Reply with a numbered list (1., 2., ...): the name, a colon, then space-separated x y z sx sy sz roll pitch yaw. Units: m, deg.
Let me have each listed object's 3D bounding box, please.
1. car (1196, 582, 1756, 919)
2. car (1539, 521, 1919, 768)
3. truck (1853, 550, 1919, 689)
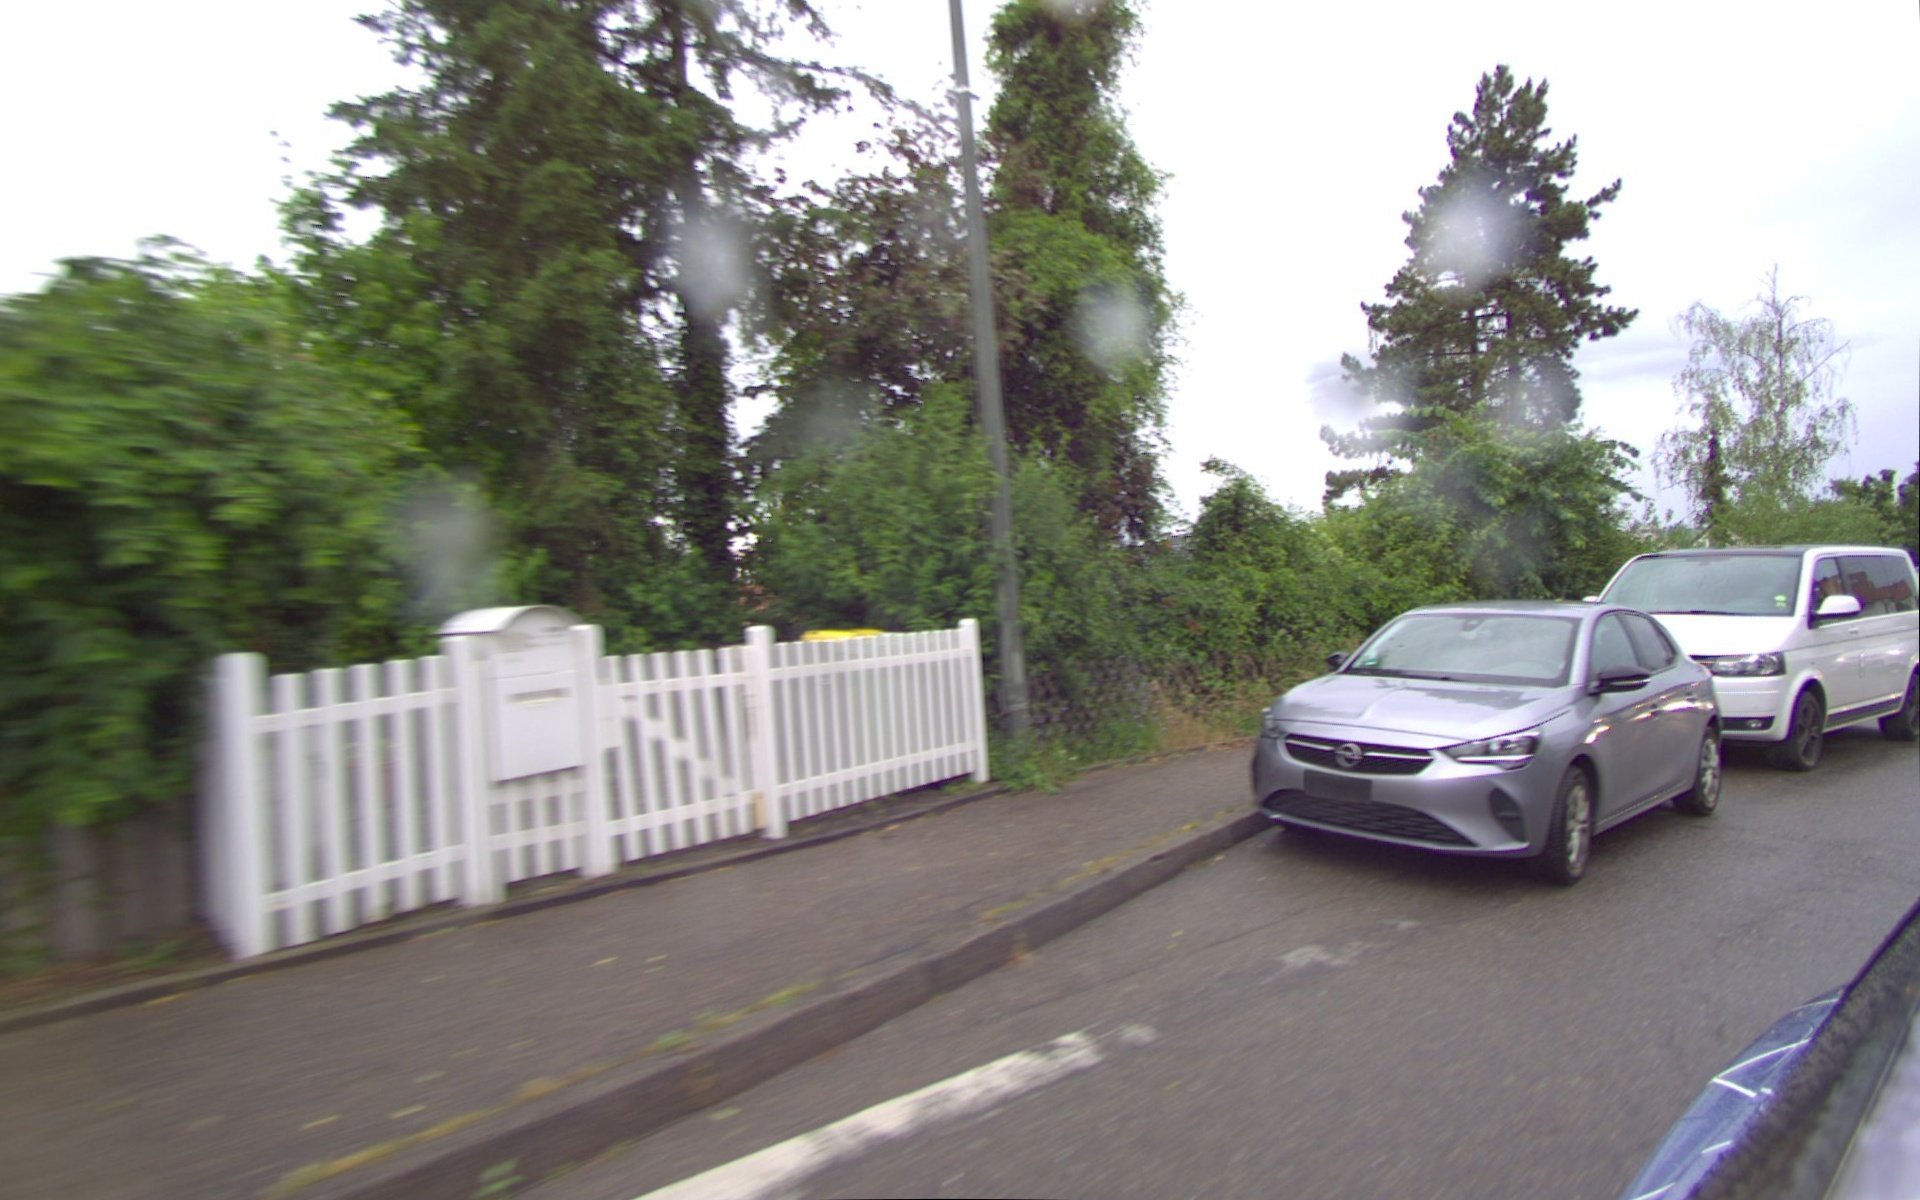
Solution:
1. car: 3.419 0.651 6.377 3.985 1.475 1.688 -1 0 -40
2. car: 8.063 0.331 10.103 4.980 1.945 1.867 -1 -1 -33
3. truck: 15.856 0.229 15.123 6.490 1.875 2.121 -1 0 -33
